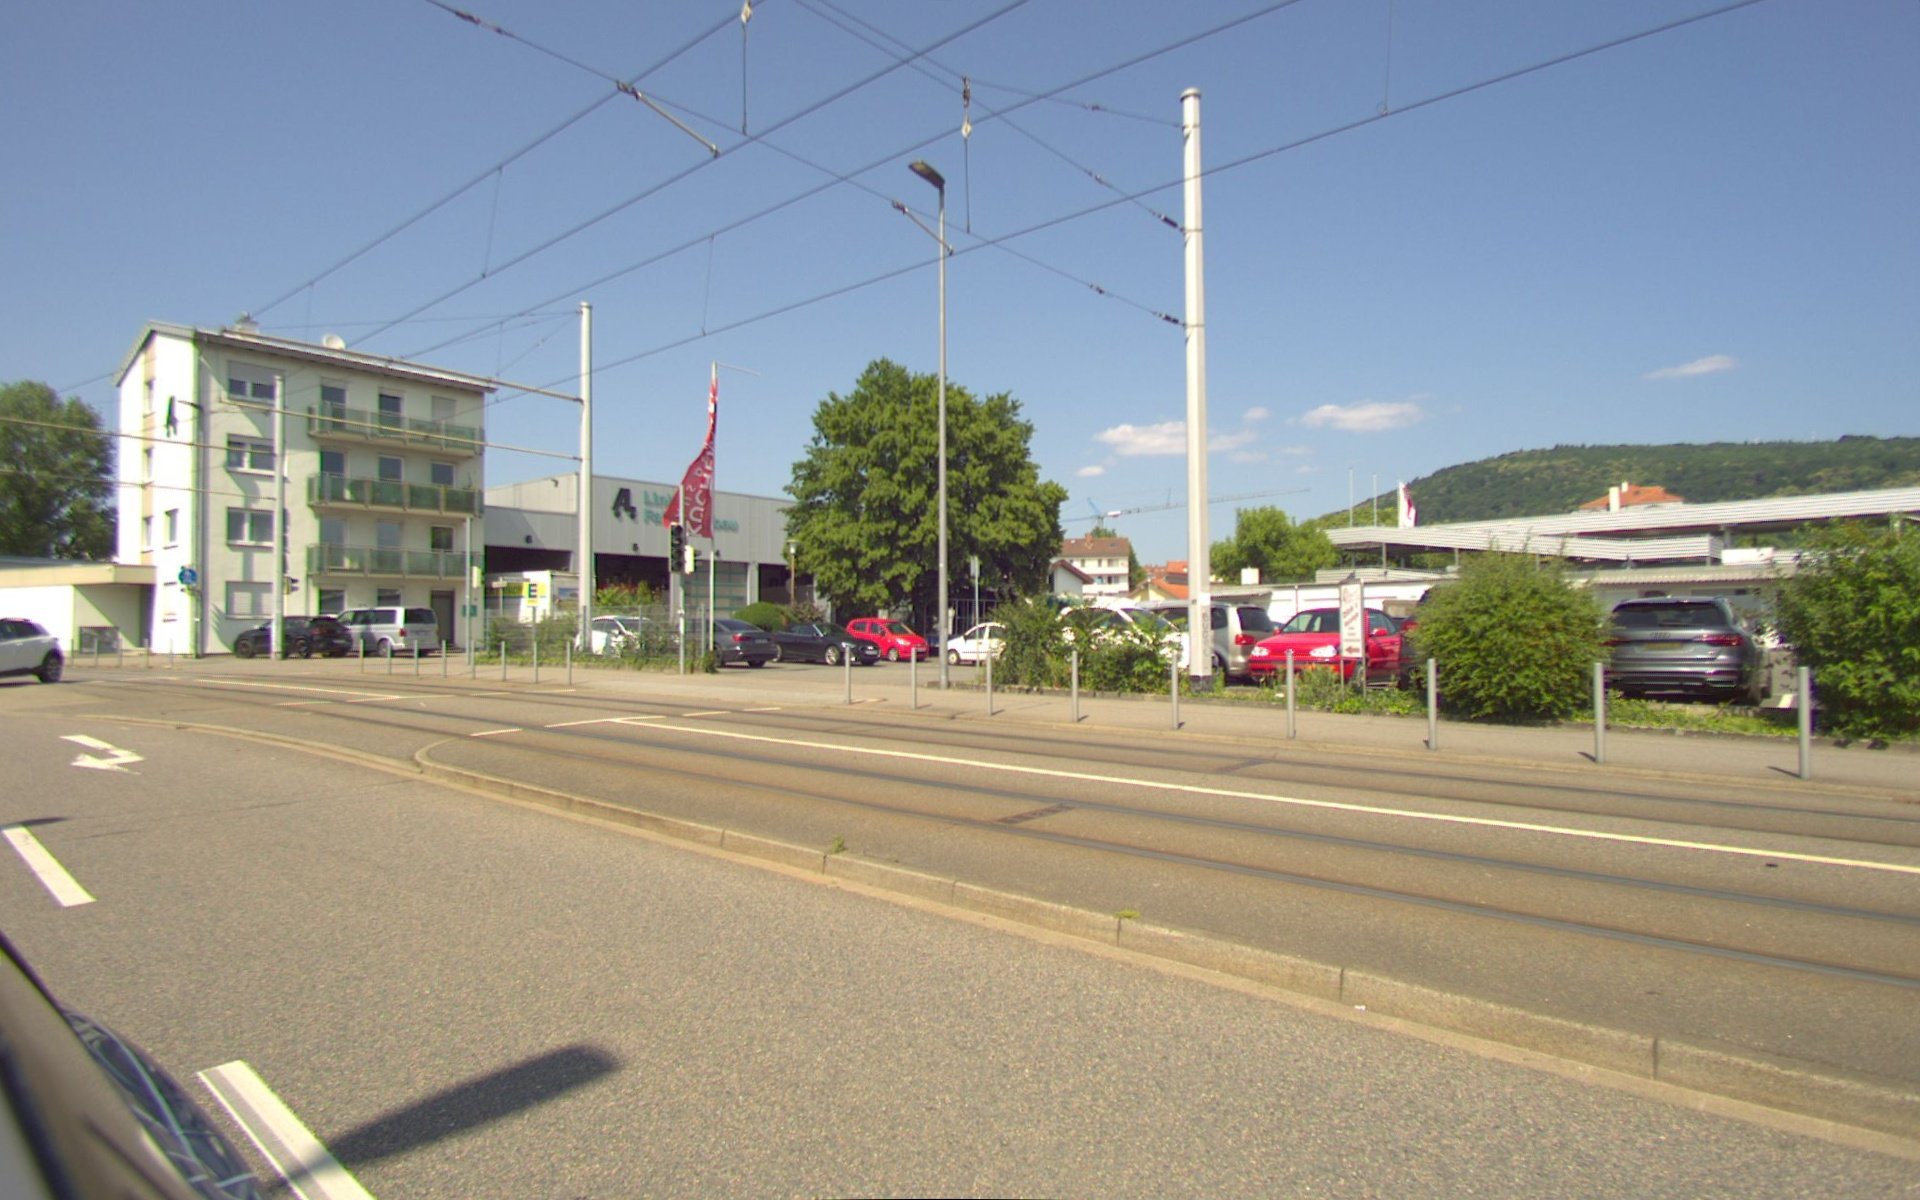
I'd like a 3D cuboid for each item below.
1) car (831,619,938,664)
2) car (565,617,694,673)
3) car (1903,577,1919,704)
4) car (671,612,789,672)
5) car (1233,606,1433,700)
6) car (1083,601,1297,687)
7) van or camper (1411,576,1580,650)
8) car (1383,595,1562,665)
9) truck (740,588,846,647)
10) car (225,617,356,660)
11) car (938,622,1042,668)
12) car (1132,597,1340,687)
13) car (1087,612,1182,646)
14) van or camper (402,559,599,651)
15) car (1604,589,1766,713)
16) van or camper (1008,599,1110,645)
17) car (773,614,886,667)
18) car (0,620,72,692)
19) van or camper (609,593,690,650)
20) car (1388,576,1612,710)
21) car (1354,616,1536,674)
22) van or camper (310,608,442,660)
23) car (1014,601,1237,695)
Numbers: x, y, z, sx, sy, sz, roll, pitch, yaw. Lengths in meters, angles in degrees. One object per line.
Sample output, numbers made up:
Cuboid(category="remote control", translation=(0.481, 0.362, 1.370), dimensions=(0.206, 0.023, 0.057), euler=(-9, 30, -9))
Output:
Cuboid(category="car", translation=(-2.854, 1.532, 37.910), dimensions=(3.832, 1.605, 1.832), euler=(-2, -2, 39))
Cuboid(category="car", translation=(-9.384, 1.214, 28.581), dimensions=(3.952, 1.444, 1.690), euler=(-1, -1, 41))
Cuboid(category="car", translation=(11.871, 0.480, 11.361), dimensions=(1.472, 1.540, 3.590), euler=(-2, -2, 37))
Cuboid(category="car", translation=(-6.849, 1.206, 29.870), dimensions=(1.742, 1.633, 3.841), euler=(0, -1, -42))
Cuboid(category="car", translation=(6.278, 0.817, 16.842), dimensions=(1.749, 1.381, 3.781), euler=(-2, -2, 44))
Cuboid(category="car", translation=(4.594, 0.864, 20.650), dimensions=(1.828, 1.580, 3.940), euler=(1, -2, -41))
Cuboid(category="van or camper", translation=(17.743, 0.471, 33.692), dimensions=(1.755, 2.323, 4.605), euler=(1, -2, -45))
Cuboid(category="car", translation=(15.996, 0.945, 31.751), dimensions=(2.027, 2.029, 4.585), euler=(1, -2, -43))
Cuboid(category="truck", translation=(-11.367, 1.198, 68.510), dimensions=(7.854, 3.810, 2.590), euler=(-1, -2, 40))
Cuboid(category="car", translation=(-24.660, 1.419, 37.303), dimensions=(3.935, 1.532, 1.872), euler=(-1, -2, 14))
Cuboid(category="car", translation=(1.006, 1.531, 34.759), dimensions=(3.385, 1.496, 1.498), euler=(-2, -2, 38))
Cuboid(category="car", translation=(6.007, 0.892, 22.331), dimensions=(1.969, 1.798, 4.006), euler=(0, -2, -41))
Cuboid(category="car", translation=(8.240, 1.382, 47.874), dimensions=(3.997, 1.567, 1.973), euler=(-2, -2, 41))
Cuboid(category="van or camper", translation=(-22.701, 0.408, 49.532), dimensions=(11.596, 3.721, 2.751), euler=(-4, -3, 31))
Cuboid(category="car", translation=(9.647, 0.702, 13.499), dimensions=(1.545, 1.433, 3.356), euler=(-2, -4, 36))
Cuboid(category="van or camper", translation=(4.577, 1.044, 47.438), dimensions=(1.970, 2.023, 4.648), euler=(1, -2, -43))
Cuboid(category="car", translation=(-4.335, 1.314, 33.220), dimensions=(1.828, 1.633, 3.841), euler=(2, -3, -42))
Cuboid(category="car", translation=(-21.440, 1.202, 21.822), dimensions=(1.709, 1.542, 4.120), euler=(0, -2, -13))
Cuboid(category="van or camper", translation=(-18.172, 1.297, 59.144), dimensions=(5.050, 3.230, 1.975), euler=(-2, -2, 37))
Cuboid(category="car", translation=(8.175, 0.591, 15.173), dimensions=(2.000, 1.719, 3.943), euler=(-2, -2, 43))
Cuboid(category="car", translation=(14.211, 1.294, 29.846), dimensions=(1.961, 1.569, 4.430), euler=(2, -2, -42))
Cuboid(category="van or camper", translation=(-22.775, 1.304, 39.492), dimensions=(4.519, 1.922, 1.988), euler=(0, -2, 19))
Cuboid(category="car", translation=(2.955, 0.848, 18.695), dimensions=(1.714, 1.553, 3.841), euler=(1, -2, -42))
